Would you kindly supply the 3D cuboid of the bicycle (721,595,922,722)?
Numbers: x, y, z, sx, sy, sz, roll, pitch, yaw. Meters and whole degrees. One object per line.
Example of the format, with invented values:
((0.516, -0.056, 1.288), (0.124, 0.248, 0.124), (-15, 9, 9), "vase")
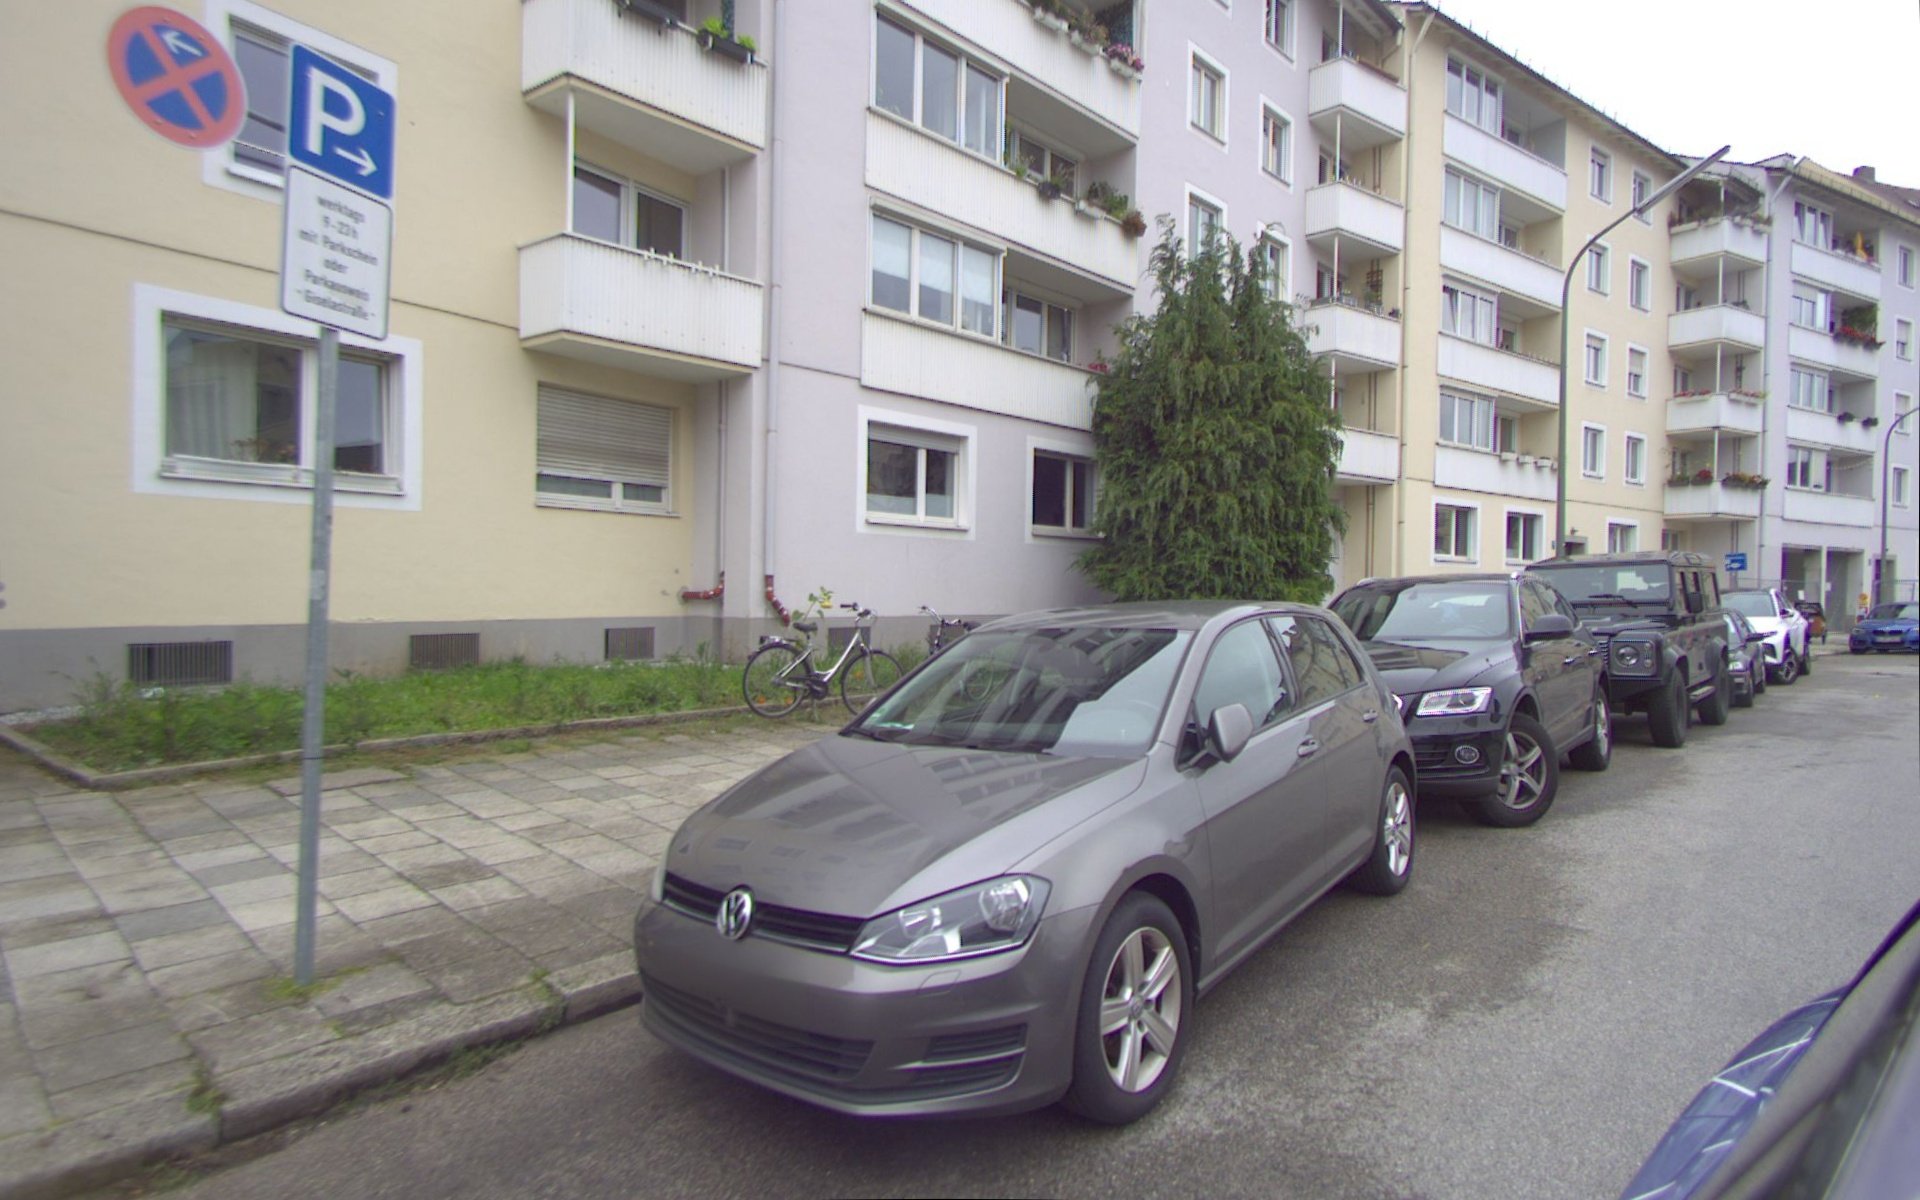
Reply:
((-1.323, 0.541, 9.873), (1.906, 1.131, 0.469), (1, 1, -34), "bicycle")

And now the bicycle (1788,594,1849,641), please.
((25.853, 0.502, 30.461), (2.724, 1.339, 0.812), (0, 3, -38), "bicycle")

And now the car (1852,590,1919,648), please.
((26.196, 0.523, 27.572), (4.541, 1.461, 1.835), (1, -4, -36), "car")

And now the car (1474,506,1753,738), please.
((7.475, 0.231, 11.378), (1.748, 2.108, 4.442), (-1, -1, 45), "car")

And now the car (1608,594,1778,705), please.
((10.764, 0.626, 14.764), (1.657, 1.366, 3.748), (-1, 0, 41), "car")

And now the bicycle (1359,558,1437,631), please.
((9.053, -0.131, 20.870), (0.742, 1.384, 2.436), (5, 4, 40), "bicycle")

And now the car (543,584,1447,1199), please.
((0.595, 0.671, 4.226), (1.751, 1.414, 3.989), (-1, 0, 39), "car")

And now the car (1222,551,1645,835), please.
((3.886, 0.510, 7.842), (1.658, 1.585, 4.444), (-1, 0, 43), "car")

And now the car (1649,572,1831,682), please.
((13.972, 0.453, 18.022), (2.026, 1.699, 4.538), (-1, -1, 45), "car")

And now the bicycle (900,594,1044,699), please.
((0.181, 0.505, 11.870), (0.467, 1.131, 1.912), (3, 2, 45), "bicycle")
